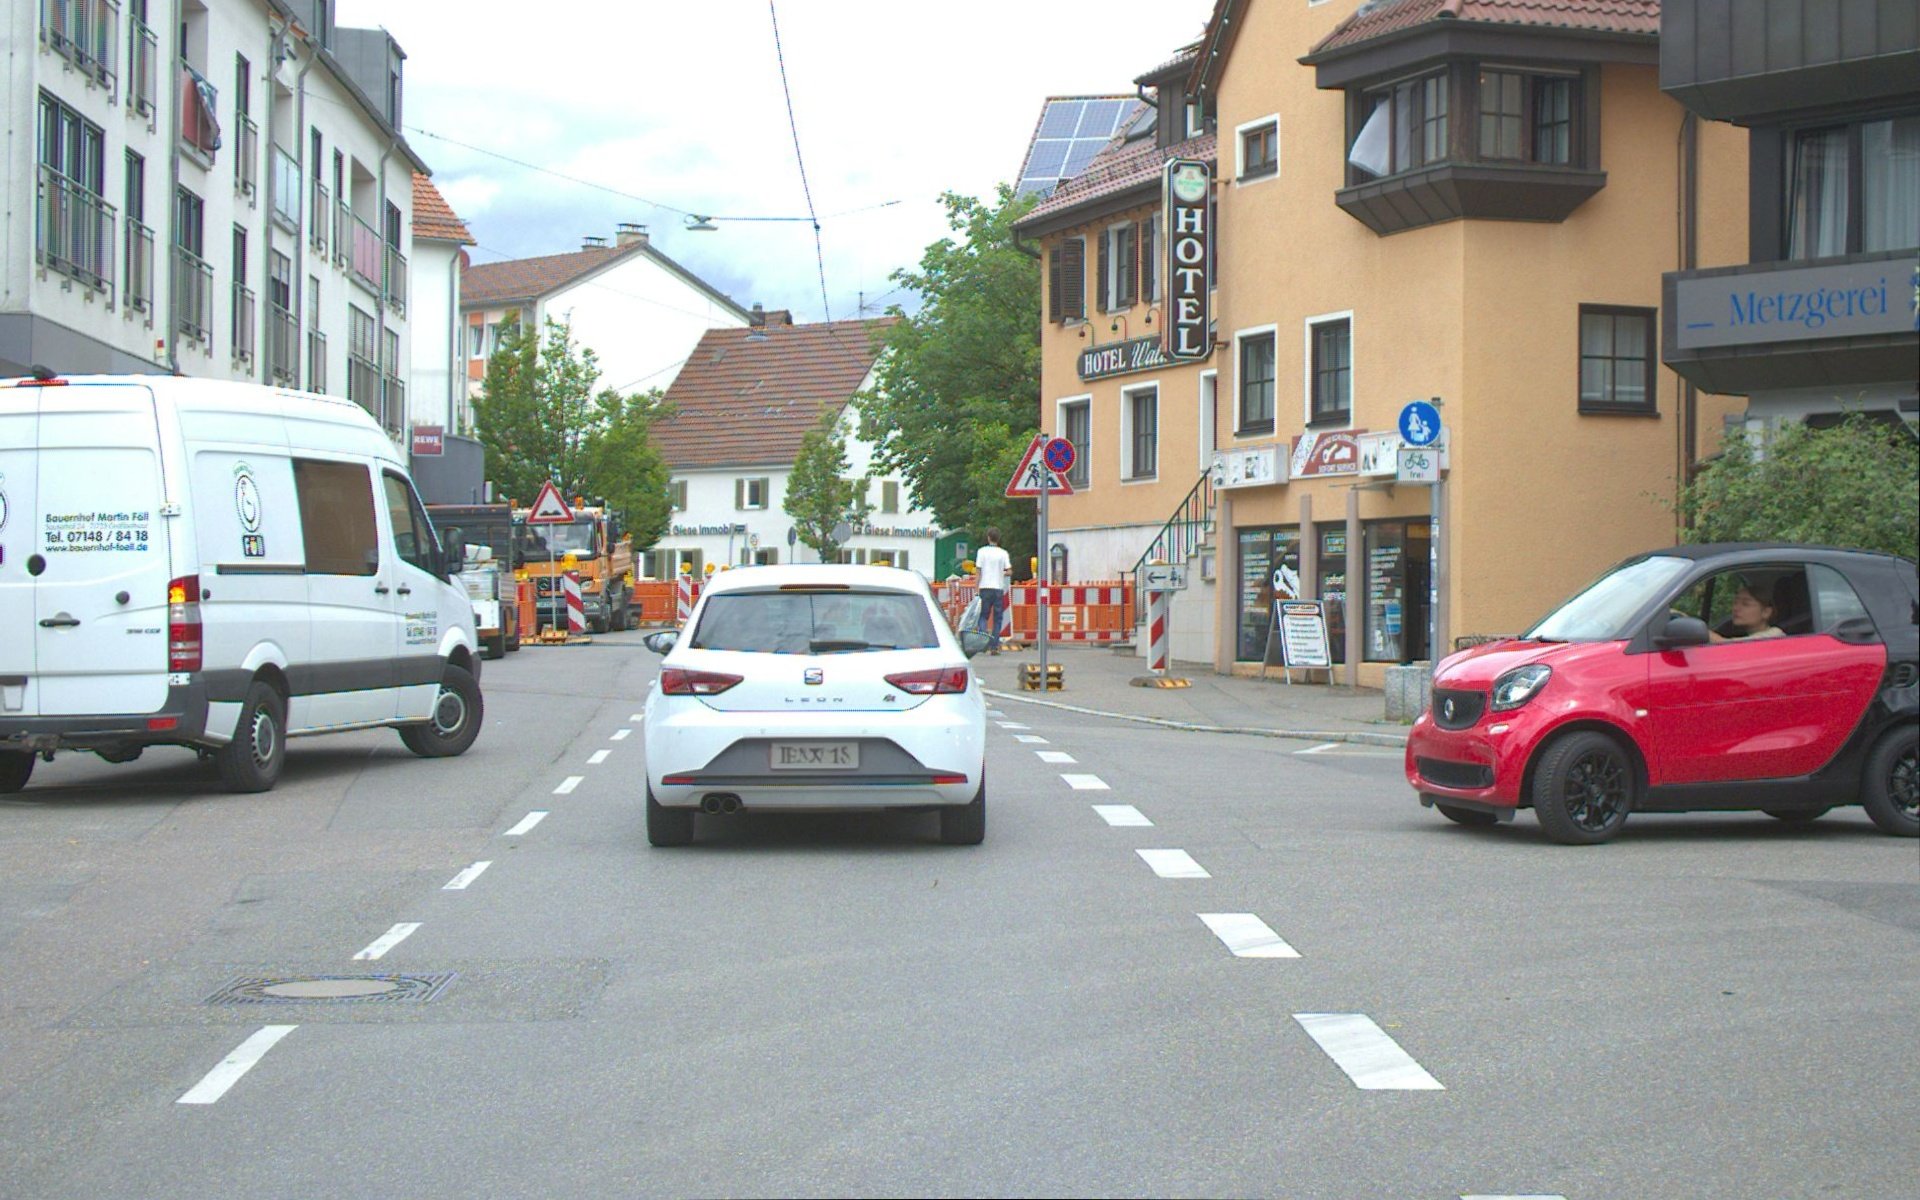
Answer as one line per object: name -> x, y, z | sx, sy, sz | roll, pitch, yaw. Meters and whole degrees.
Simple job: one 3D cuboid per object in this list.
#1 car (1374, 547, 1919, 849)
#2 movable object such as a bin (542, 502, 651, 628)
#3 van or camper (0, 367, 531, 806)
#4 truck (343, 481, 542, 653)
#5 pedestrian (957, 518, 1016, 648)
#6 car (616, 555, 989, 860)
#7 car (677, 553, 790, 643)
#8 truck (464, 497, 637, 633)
car -> 3.914, 0.476, 18.447 | 2.929, 1.515, 1.821 | 0, 1, -11
movable object such as a bin -> -8.235, -0.755, 78.171 | 1.839, 2.754, 4.505 | 0, -1, 2
van or camper -> -5.053, -0.129, 23.594 | 2.320, 2.598, 6.205 | 0, 1, 12
truck -> -7.806, -0.531, 52.446 | 2.413, 2.457, 6.308 | 0, 1, -3
pedestrian -> 0.397, -0.258, 52.026 | 0.798, 1.943, 0.836 | 0, 1, -5
car -> -0.801, 0.497, 18.651 | 1.811, 1.475, 3.871 | 0, 1, -1
car -> -3.886, -0.052, 58.622 | 1.811, 1.475, 3.871 | 0, 1, -5
truck -> -8.496, -0.743, 72.035 | 2.731, 2.715, 6.848 | 0, 1, 1
